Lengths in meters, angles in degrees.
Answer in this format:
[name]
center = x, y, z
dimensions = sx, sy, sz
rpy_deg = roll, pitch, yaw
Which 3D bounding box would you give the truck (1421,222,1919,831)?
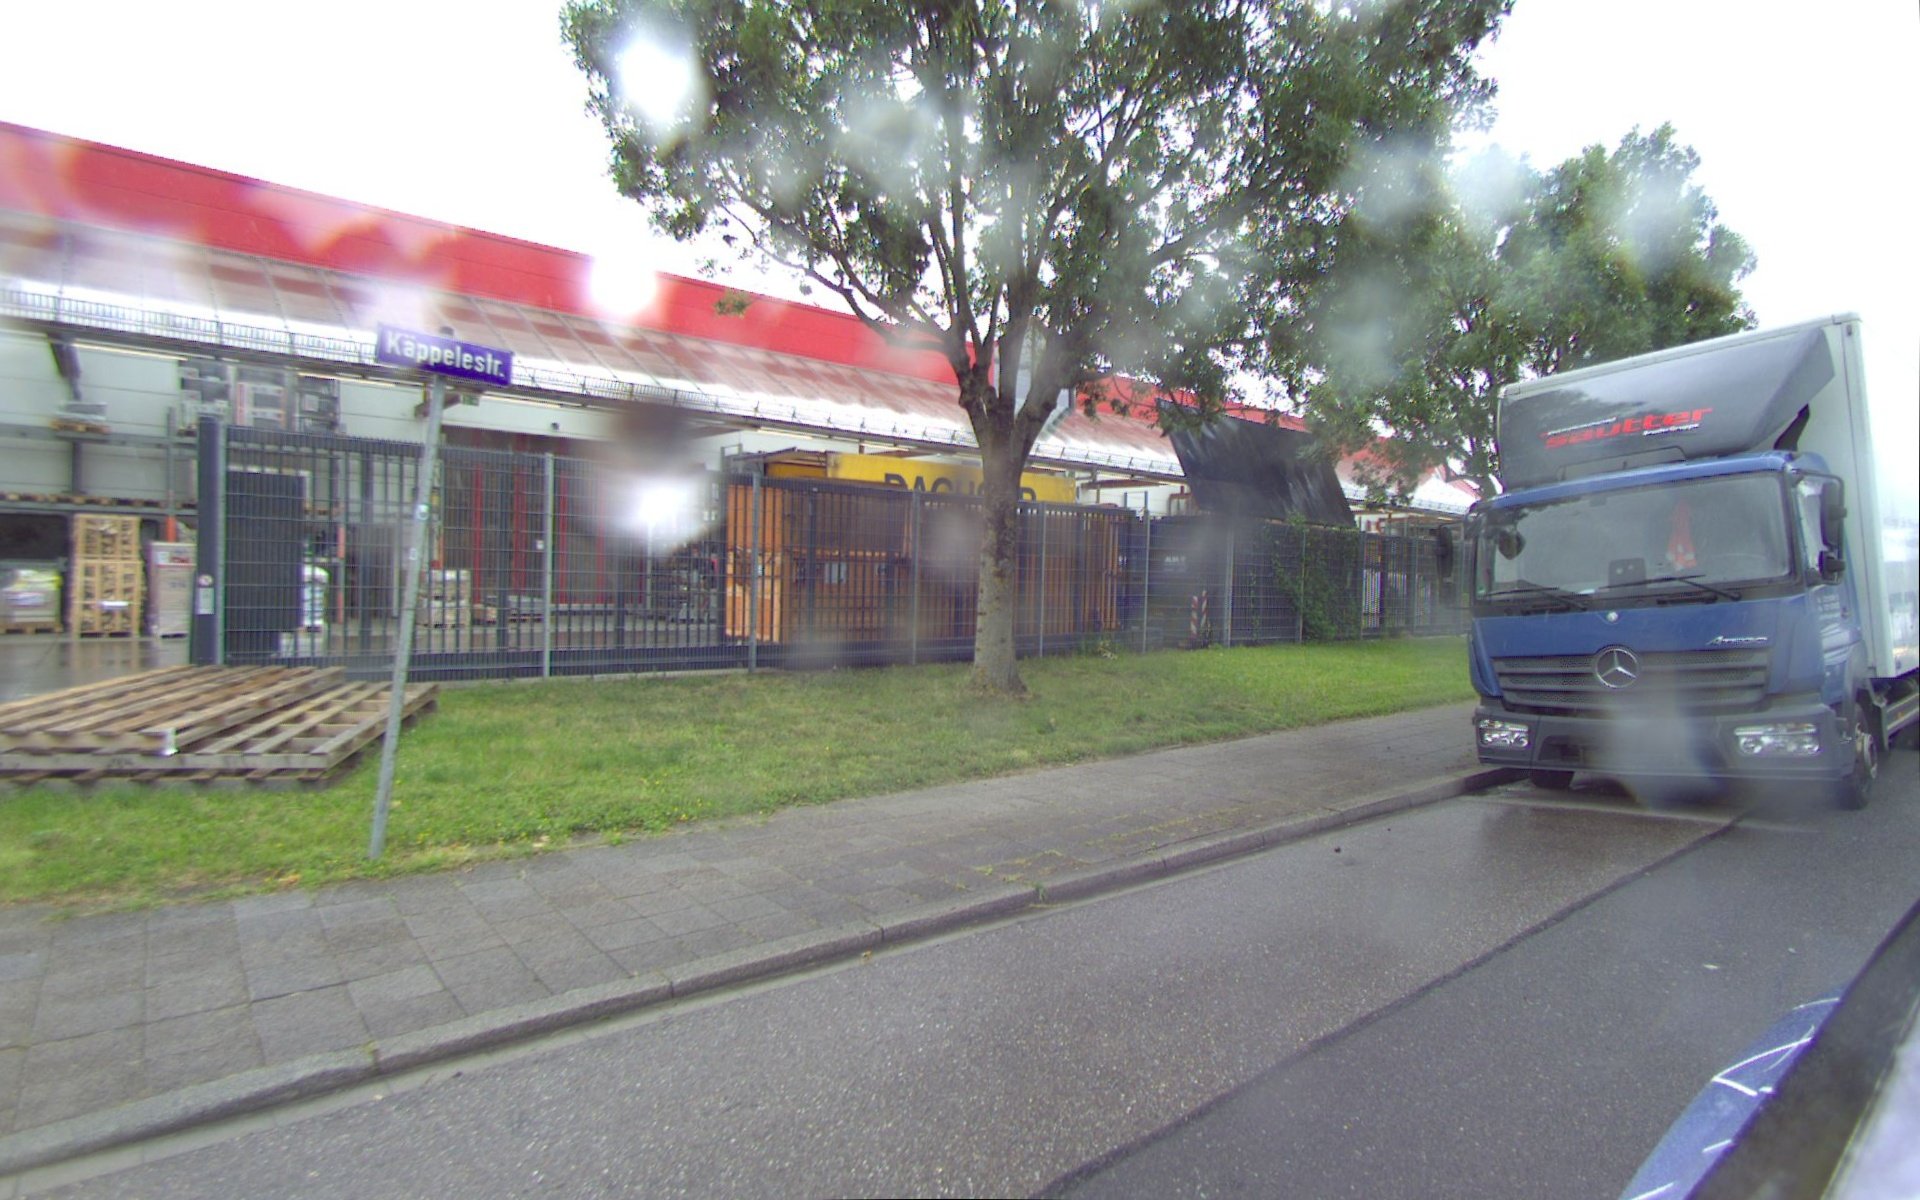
[truck]
center = 7.669, -0.451, 9.766
dimensions = 7.867, 3.739, 2.676
rpy_deg = 0, -1, -40

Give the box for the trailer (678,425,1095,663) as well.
[trailer]
center = -1.247, -1.154, 22.475
dimensions = 9.305, 4.295, 2.973
rpy_deg = -2, 3, -40
